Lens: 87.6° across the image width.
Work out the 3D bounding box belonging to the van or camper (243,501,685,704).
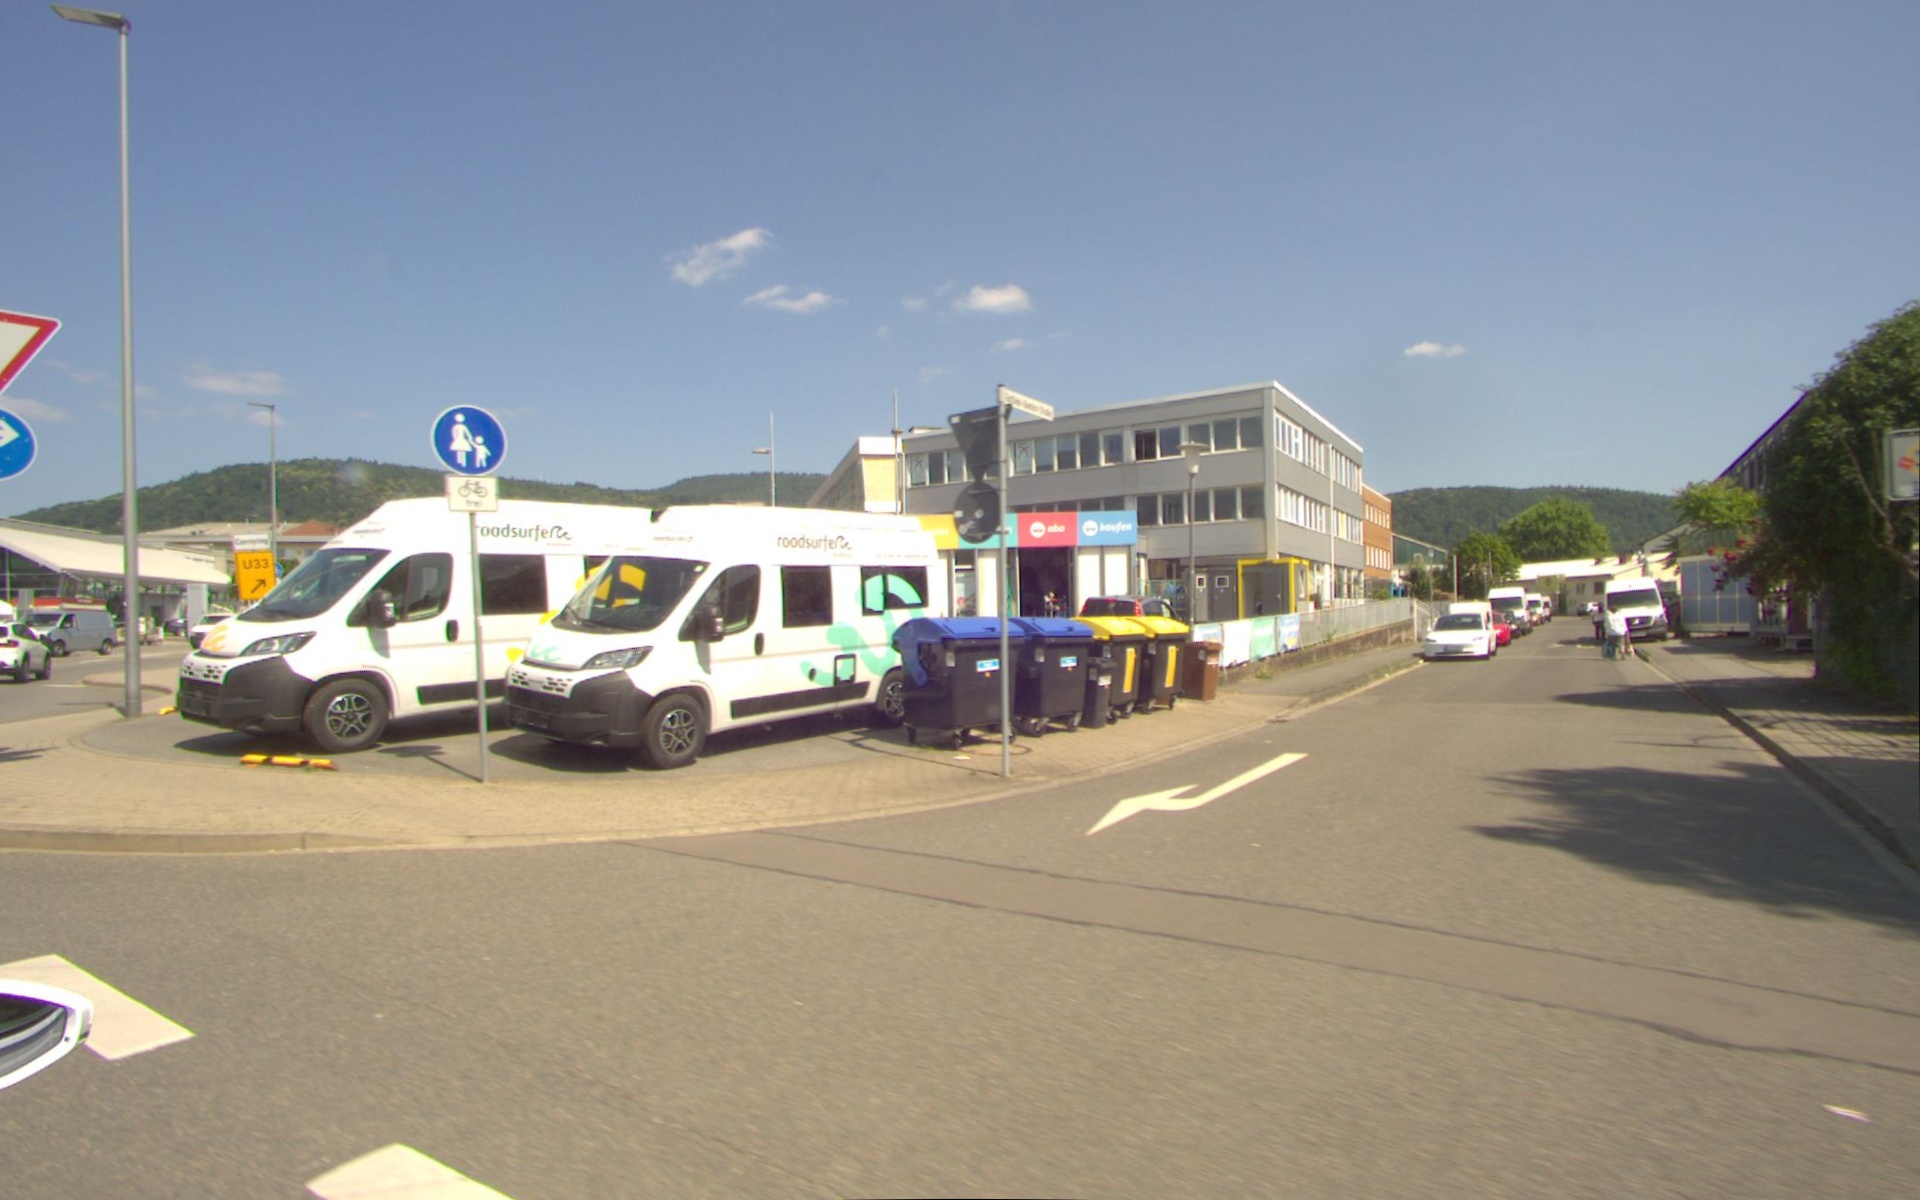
[{"bbox_3d":[-8.567,-0.014,18.371,2.301,2.986,7.046,-1,1,31],"label":"van or camper"}]

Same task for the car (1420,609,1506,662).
[{"bbox_3d":[16.061,1.081,31.869,1.868,1.572,3.975,-1,-1,35],"label":"car"}]

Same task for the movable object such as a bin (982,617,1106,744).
[{"bbox_3d":[1.083,0.977,12.789,1.008,1.476,1.279,2,1,42],"label":"movable object such as a bin"}]

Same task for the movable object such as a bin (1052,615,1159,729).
[{"bbox_3d":[2.081,0.980,14.278,1.007,1.496,1.230,2,1,39],"label":"movable object such as a bin"}]

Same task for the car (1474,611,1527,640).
[{"bbox_3d":[27.177,1.253,50.293,1.868,1.400,3.975,-1,-1,35],"label":"car"}]

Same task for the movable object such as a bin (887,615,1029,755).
[{"bbox_3d":[-0.017,0.927,11.612,1.067,1.477,1.246,2,2,44],"label":"movable object such as a bin"}]

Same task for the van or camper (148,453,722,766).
[{"bbox_3d":[-5.760,0.073,11.996,2.062,2.811,5.795,0,1,34],"label":"van or camper"}]

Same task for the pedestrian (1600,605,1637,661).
[{"bbox_3d":[19.264,0.966,29.289,0.871,1.599,0.786,-1,0,32],"label":"pedestrian"}]

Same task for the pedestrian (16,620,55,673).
[{"bbox_3d":[-29.771,1.488,32.246,0.943,1.658,0.875,-1,0,44],"label":"pedestrian"}]

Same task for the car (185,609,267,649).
[{"bbox_3d":[-41.393,1.591,56.618,1.991,2.142,4.927,0,0,-14],"label":"car"}]

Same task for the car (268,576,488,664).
[{"bbox_3d":[-19.820,0.630,34.427,2.279,2.753,6.110,-1,0,39],"label":"car"}]

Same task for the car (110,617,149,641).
[{"bbox_3d":[-58.692,2.045,70.809,1.728,1.605,3.637,-1,-1,-34],"label":"car"}]

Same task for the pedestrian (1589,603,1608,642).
[{"bbox_3d":[28.458,0.986,44.618,0.699,1.710,0.650,-1,0,32],"label":"pedestrian"}]

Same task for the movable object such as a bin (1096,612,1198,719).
[{"bbox_3d":[2.941,0.983,15.712,1.051,1.552,1.324,2,1,39],"label":"movable object such as a bin"}]

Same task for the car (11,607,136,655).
[{"bbox_3d":[-38.621,1.316,43.804,1.897,1.960,4.825,0,-1,-12],"label":"car"}]

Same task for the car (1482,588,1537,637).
[{"bbox_3d":[30.458,0.676,55.433,2.083,2.559,5.572,-1,-1,35],"label":"car"}]

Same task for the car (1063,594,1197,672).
[{"bbox_3d":[3.891,0.671,22.406,1.788,1.536,3.880,2,1,28],"label":"car"}]

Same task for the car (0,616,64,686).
[{"bbox_3d":[-25.615,1.316,26.648,1.974,1.756,4.535,-1,-1,-34],"label":"car"}]

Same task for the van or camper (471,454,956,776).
[{"bbox_3d":[-2.484,0.154,11.688,2.020,2.852,5.490,2,0,35],"label":"van or camper"}]

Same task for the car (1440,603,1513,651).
[{"bbox_3d":[20.279,1.016,39.210,1.974,1.761,4.272,-1,-1,35],"label":"car"}]

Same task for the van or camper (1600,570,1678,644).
[{"bbox_3d":[27.130,0.318,40.193,2.313,2.714,6.707,-1,-1,32],"label":"van or camper"}]
